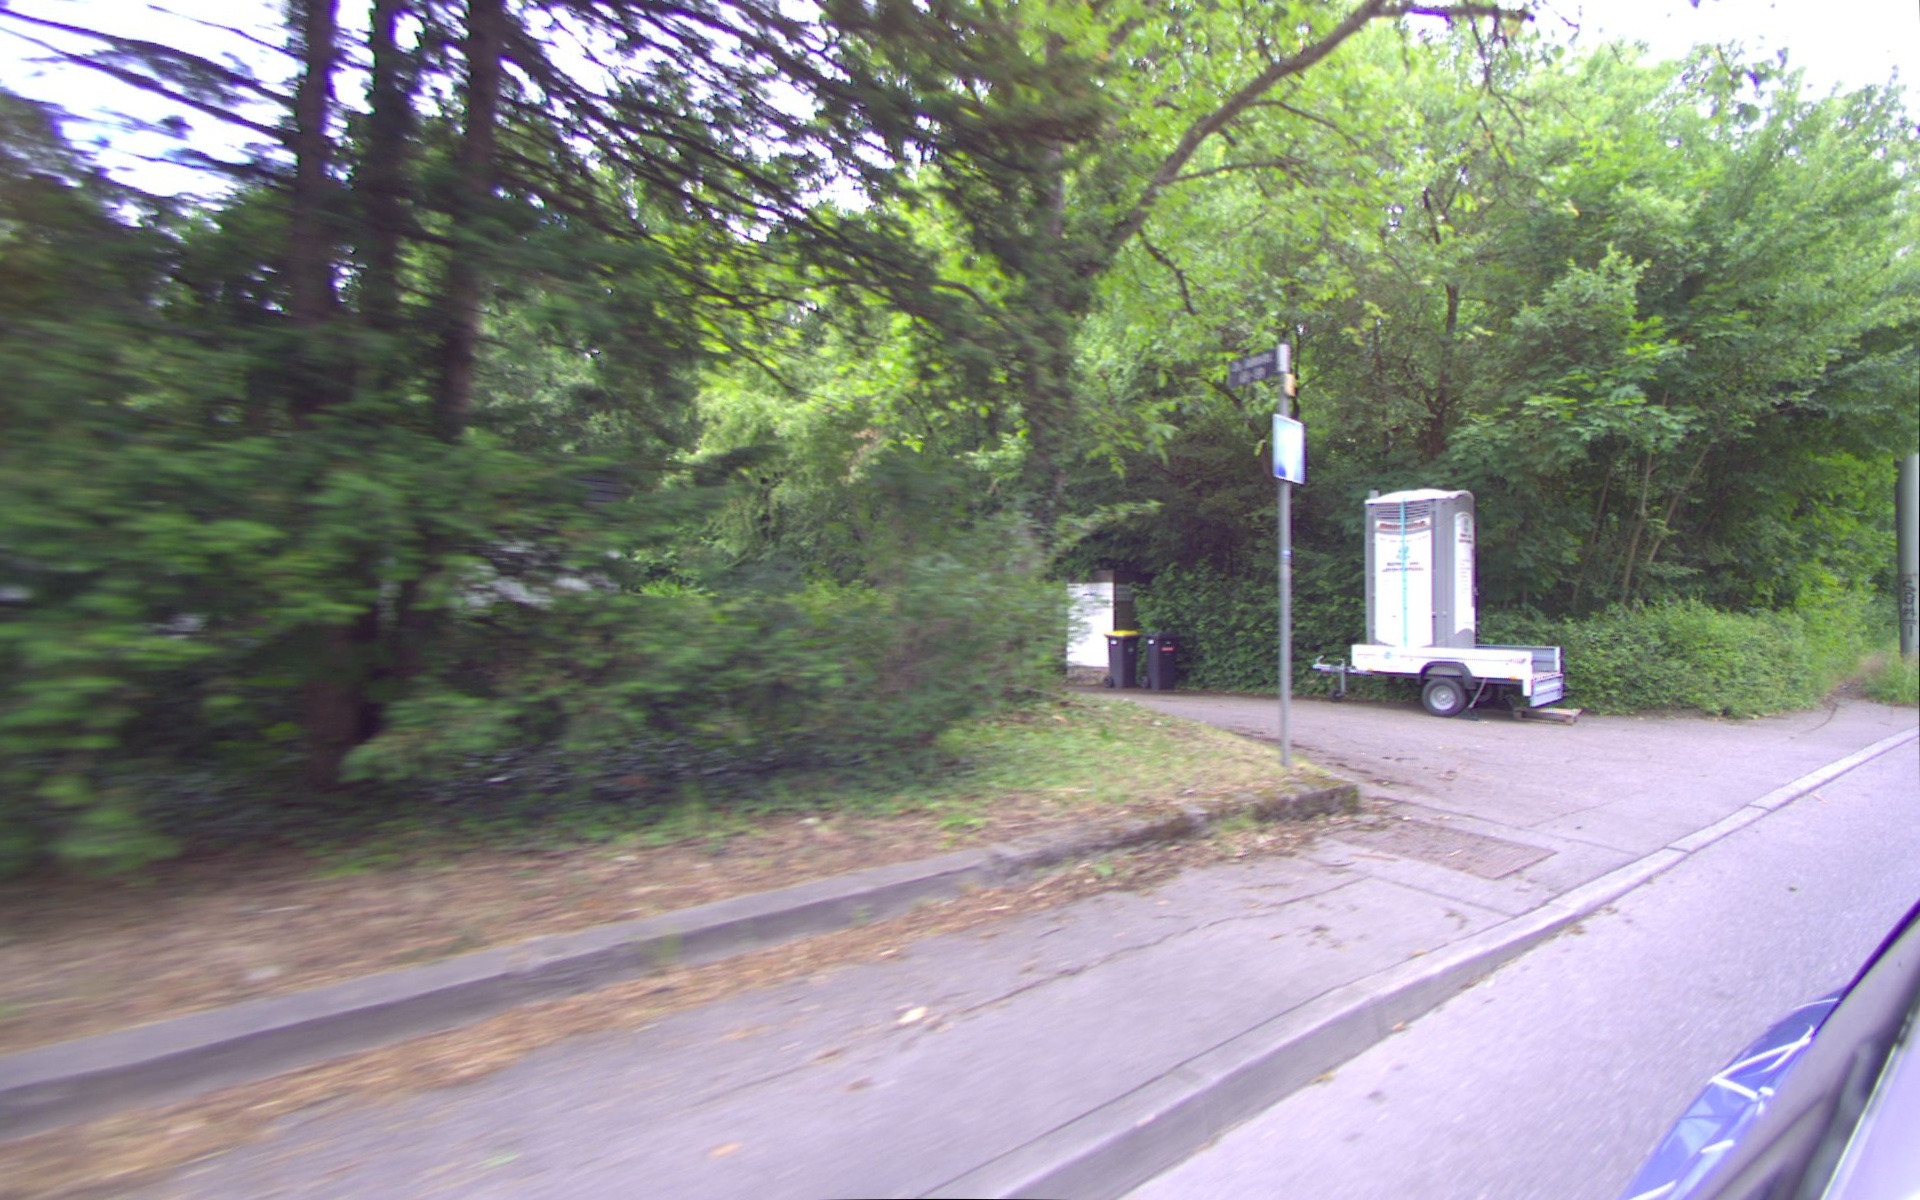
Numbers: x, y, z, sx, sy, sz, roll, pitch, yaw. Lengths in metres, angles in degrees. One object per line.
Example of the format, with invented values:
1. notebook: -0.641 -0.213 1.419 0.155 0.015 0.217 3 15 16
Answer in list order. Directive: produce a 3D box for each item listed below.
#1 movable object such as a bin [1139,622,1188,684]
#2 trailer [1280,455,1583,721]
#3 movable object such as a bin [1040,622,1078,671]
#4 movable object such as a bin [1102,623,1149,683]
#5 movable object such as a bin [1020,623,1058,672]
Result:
1. movable object such as a bin: 3.312 0.860 16.461 0.531 0.963 0.645 -3 -2 34
2. trailer: 5.889 -0.160 12.857 1.565 2.936 3.122 0 1 -41
3. movable object such as a bin: 1.976 0.918 20.180 0.525 0.924 0.522 0 0 -41
4. movable object such as a bin: 2.762 0.874 16.873 0.531 0.963 0.645 -3 -2 34
5. movable object such as a bin: 1.544 0.922 19.778 0.525 0.924 0.522 0 0 -41
